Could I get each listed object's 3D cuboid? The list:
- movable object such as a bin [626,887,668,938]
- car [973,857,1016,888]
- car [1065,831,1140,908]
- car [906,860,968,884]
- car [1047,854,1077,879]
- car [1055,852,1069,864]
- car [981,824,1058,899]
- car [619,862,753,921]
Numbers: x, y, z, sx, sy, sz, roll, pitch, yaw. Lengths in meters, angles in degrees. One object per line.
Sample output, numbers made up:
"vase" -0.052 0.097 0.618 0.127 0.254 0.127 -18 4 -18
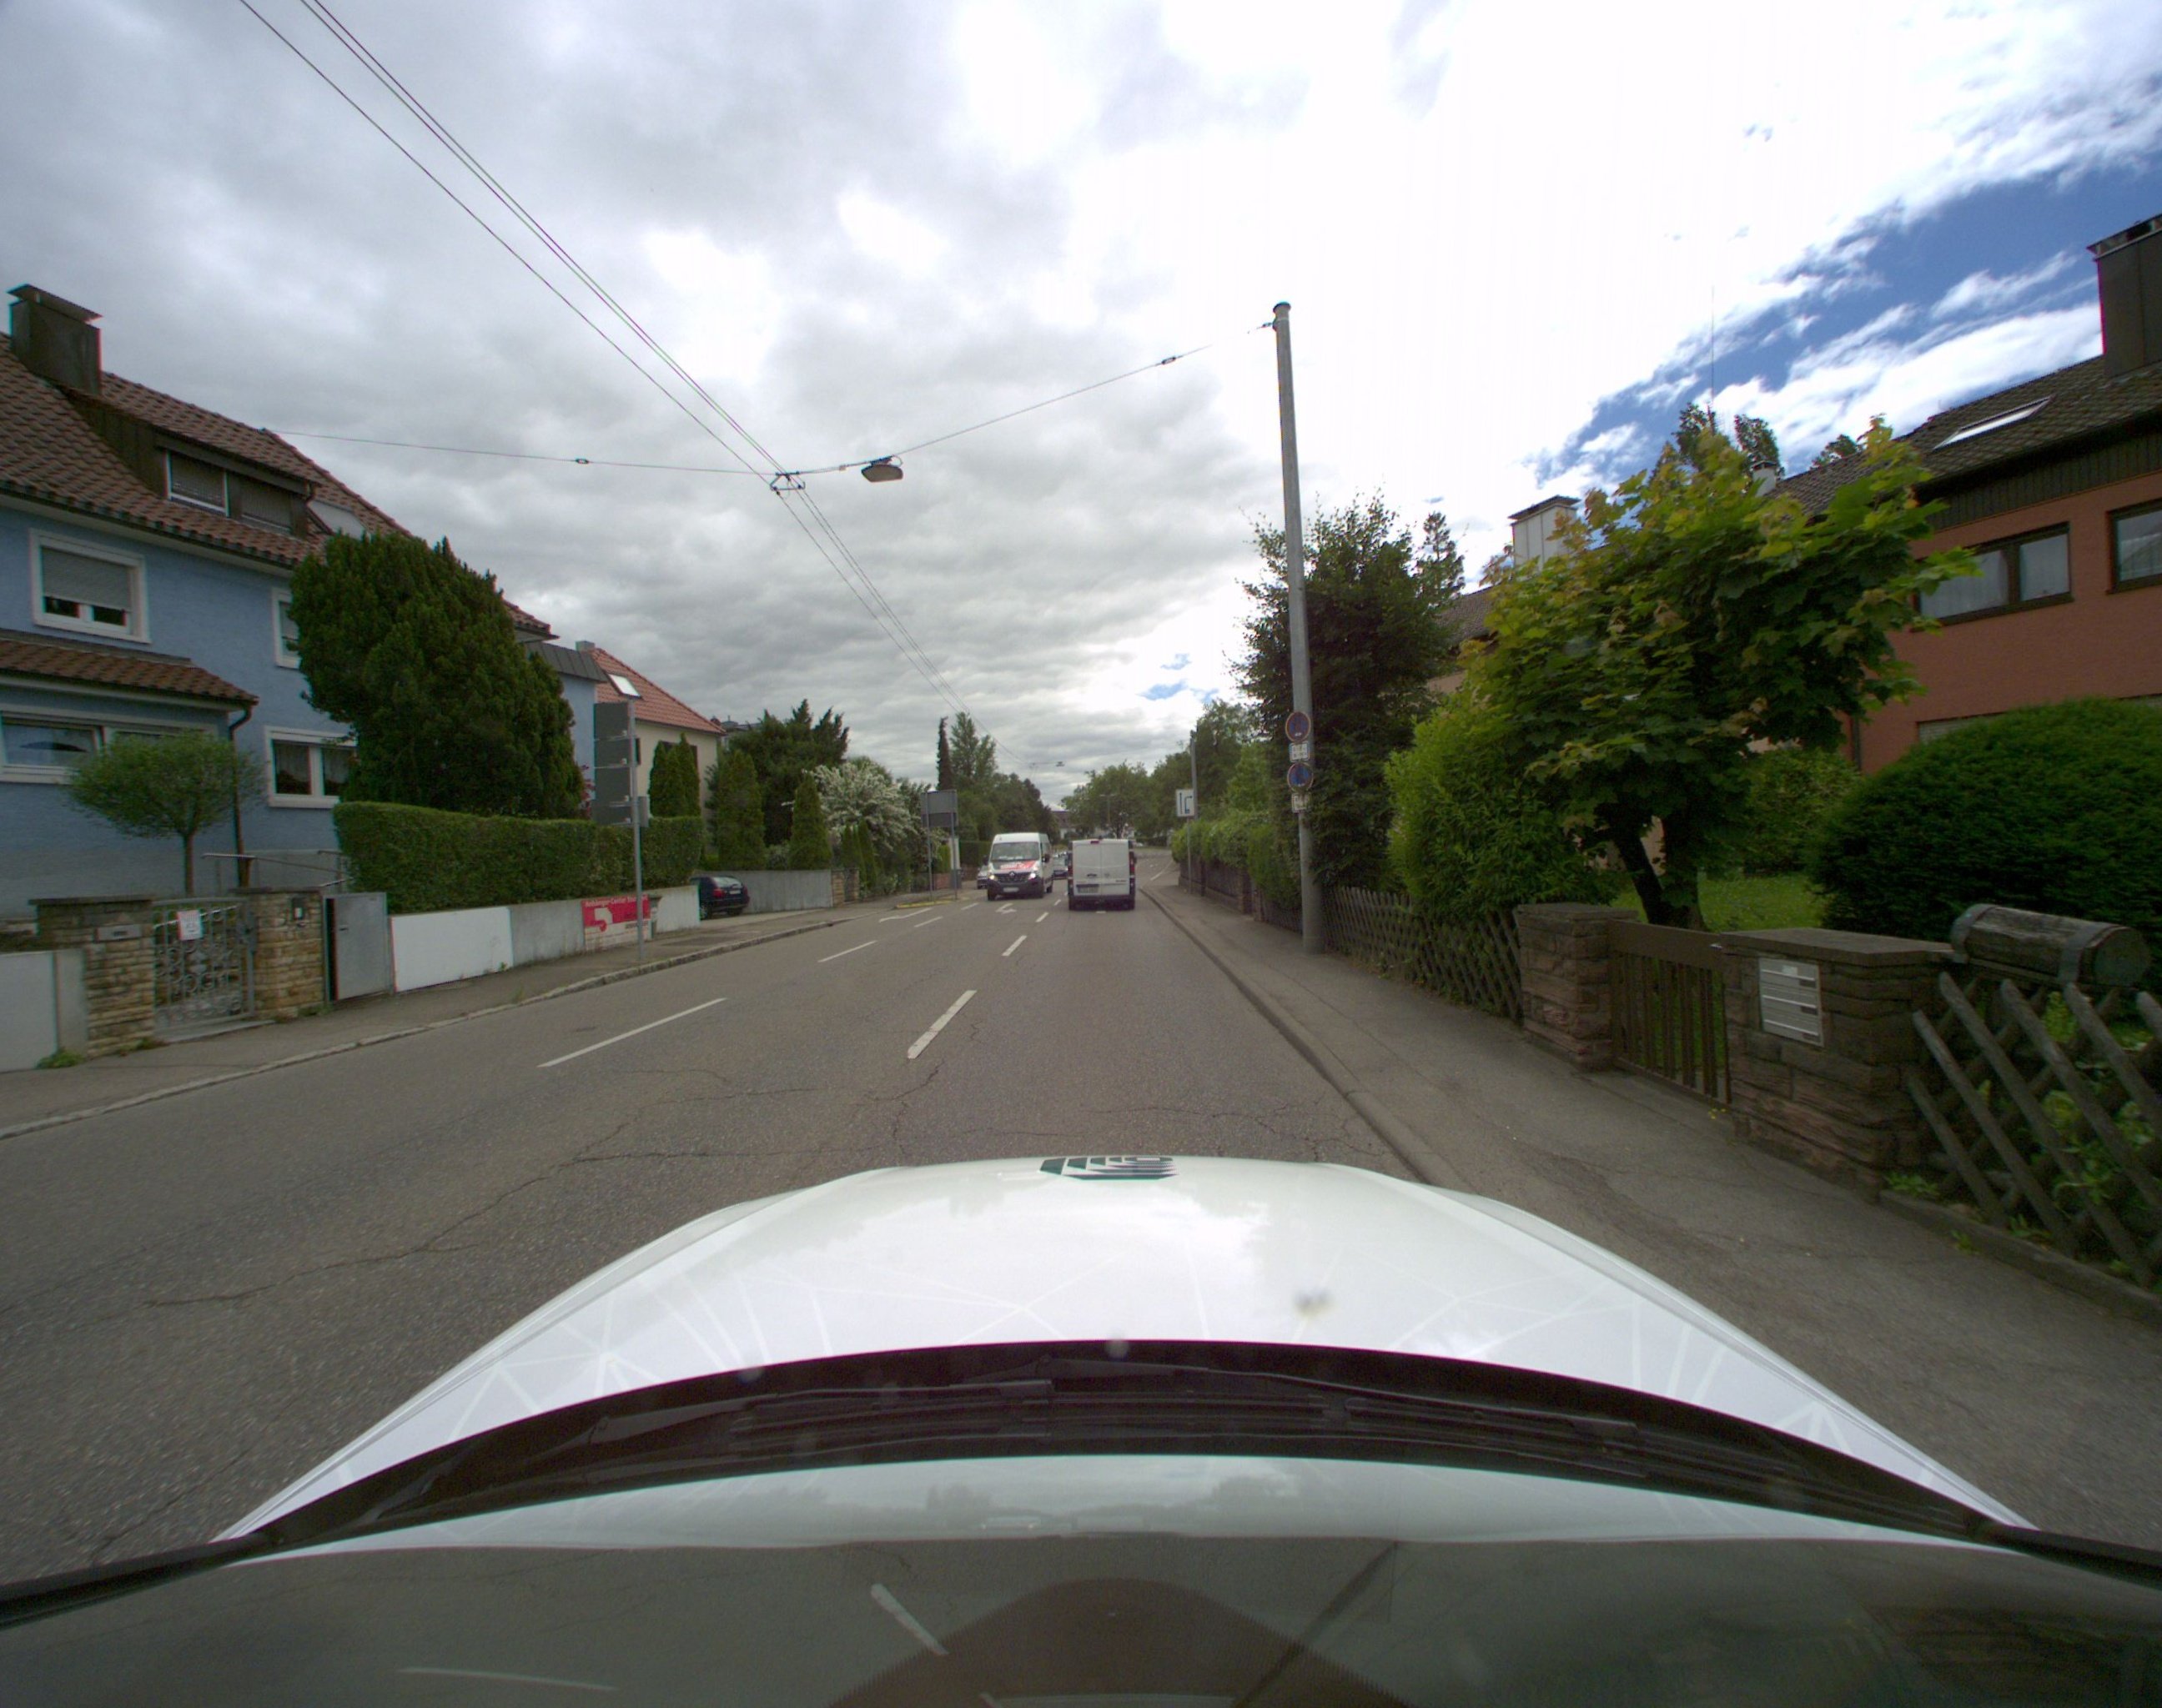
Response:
"movable object such as a bin" -8.752 1.180 16.445 0.505 0.973 0.541 -2 0 4
"car" -4.800 0.980 45.598 1.803 1.455 4.413 -5 0 0
"car" 0.603 0.397 24.172 1.999 2.038 5.010 0 0 1
"car" -9.590 1.192 54.413 3.566 1.390 1.855 -2 0 10
"car" -1.235 0.824 55.778 1.727 1.553 4.450 -3 0 2
"car" -2.653 0.495 115.845 1.882 1.625 4.430 -2 0 0
"car" -2.227 0.273 31.167 2.103 2.498 6.128 -2 0 3
"car" -12.691 1.184 26.215 3.561 1.592 1.649 -4 -1 15
